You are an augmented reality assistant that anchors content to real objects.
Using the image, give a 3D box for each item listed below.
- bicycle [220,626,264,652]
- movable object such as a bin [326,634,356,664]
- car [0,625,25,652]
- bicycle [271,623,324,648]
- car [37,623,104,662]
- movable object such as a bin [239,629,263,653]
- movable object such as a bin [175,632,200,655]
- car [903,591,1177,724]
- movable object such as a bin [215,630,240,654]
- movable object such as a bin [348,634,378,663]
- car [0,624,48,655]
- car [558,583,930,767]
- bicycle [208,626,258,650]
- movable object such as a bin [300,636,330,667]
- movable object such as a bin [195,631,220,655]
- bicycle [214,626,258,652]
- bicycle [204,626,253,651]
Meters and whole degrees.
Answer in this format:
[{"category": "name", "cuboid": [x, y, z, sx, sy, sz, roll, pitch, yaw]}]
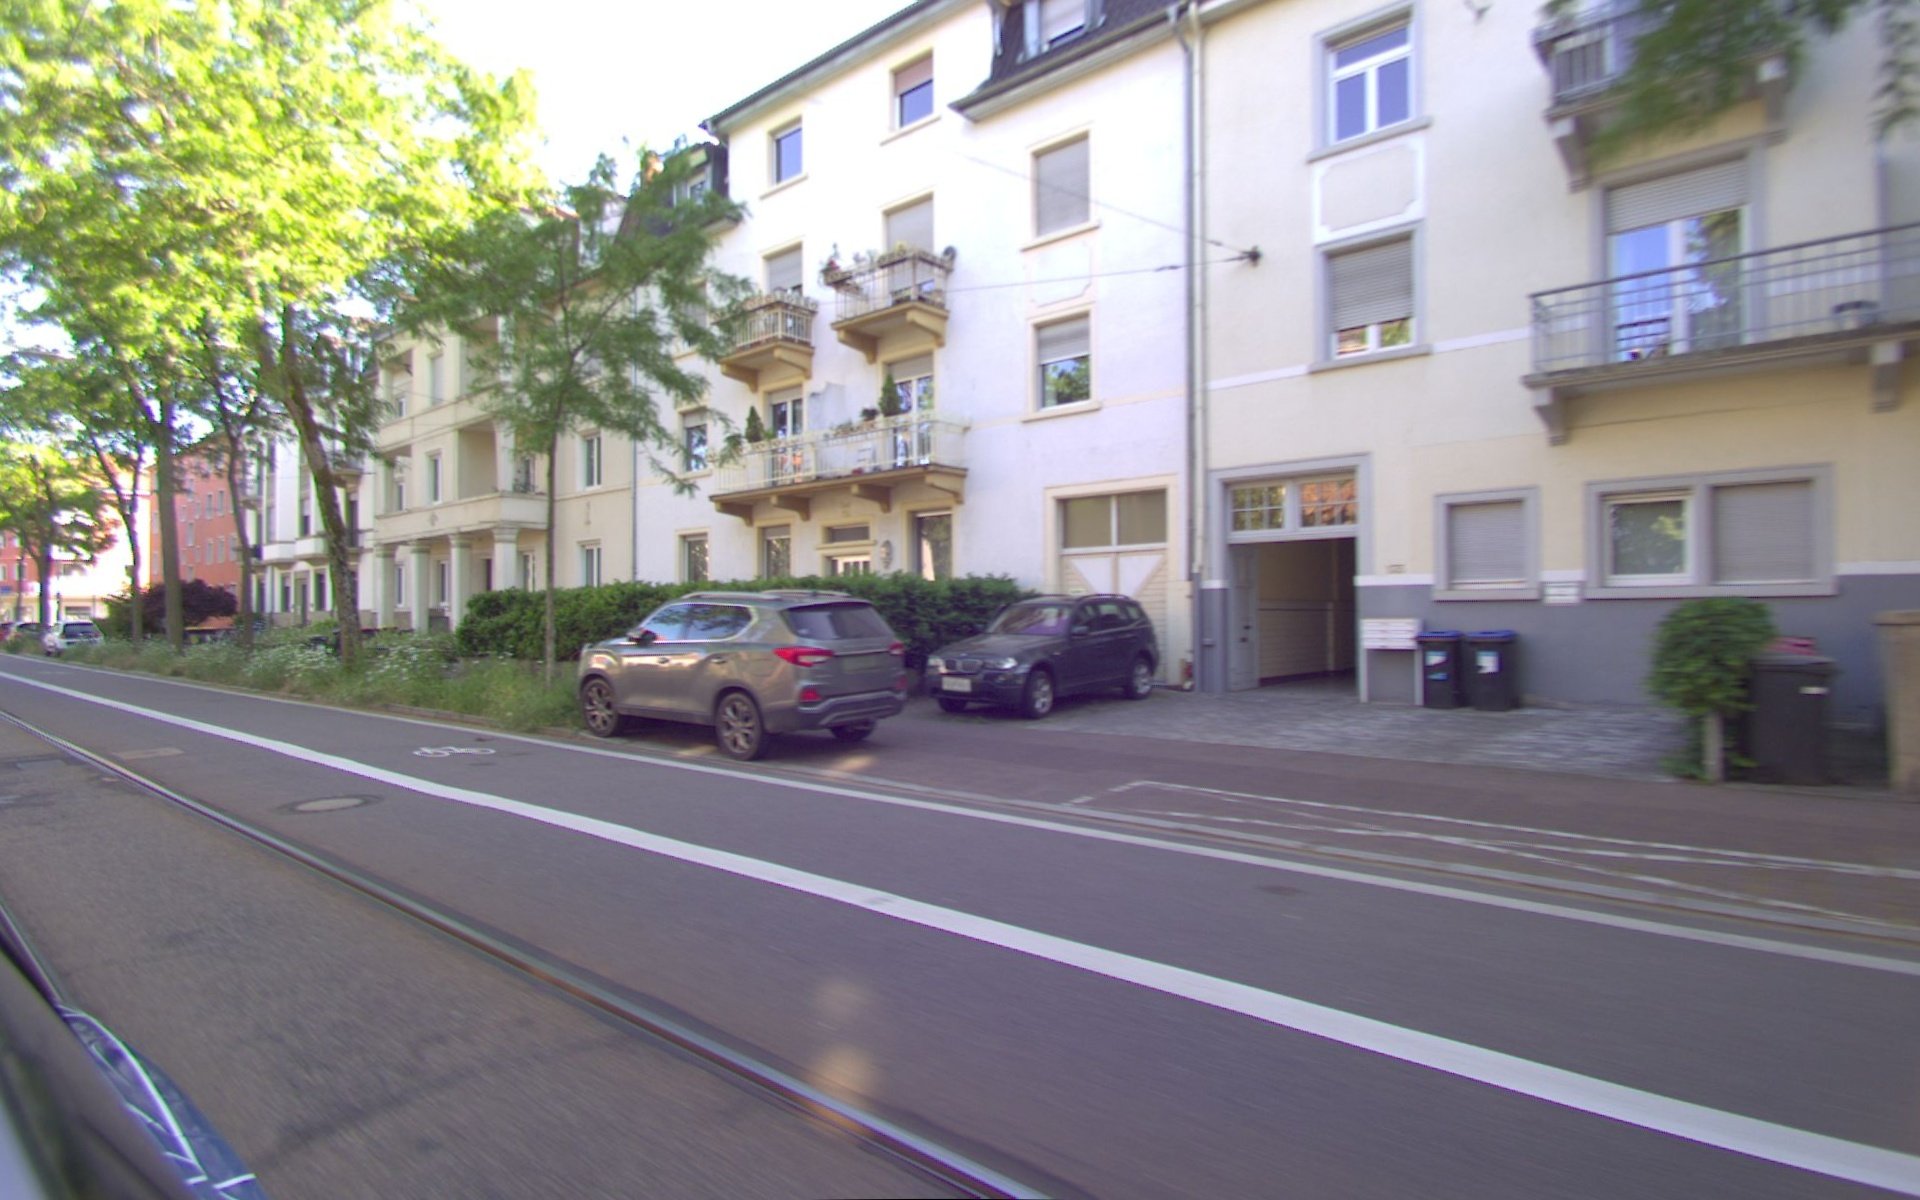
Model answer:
[{"category": "bicycle", "cuboid": [-29.024, 1.562, 40.940, 0.550, 1.004, 1.863, 0, -1, -3]}, {"category": "movable object such as a bin", "cuboid": [-20.087, 1.575, 32.838, 0.739, 0.928, 0.621, -1, 0, 41]}, {"category": "car", "cuboid": [-54.705, 2.171, 57.627, 4.091, 1.465, 1.558, -1, 0, 38]}, {"category": "bicycle", "cuboid": [-28.732, 1.523, 43.907, 1.833, 1.004, 0.559, -2, -1, -8]}, {"category": "car", "cuboid": [-38.761, 1.823, 44.077, 3.686, 1.546, 1.609, -1, 0, 39]}, {"category": "movable object such as a bin", "cuboid": [-33.304, 1.926, 47.516, 0.895, 1.122, 0.730, -1, -2, 41]}, {"category": "movable object such as a bin", "cuboid": [-34.863, 1.953, 45.670, 0.895, 1.049, 0.730, -1, -2, 41]}, {"category": "car", "cuboid": [1.345, 0.749, 15.405, 1.952, 1.673, 4.255, -1, 0, 42]}, {"category": "movable object such as a bin", "cuboid": [-33.882, 1.949, 46.810, 0.895, 1.093, 0.730, -1, -2, 41]}, {"category": "movable object such as a bin", "cuboid": [-19.651, 1.589, 33.304, 0.739, 0.928, 0.621, -1, 0, 41]}, {"category": "car", "cuboid": [-47.958, 2.005, 51.738, 3.666, 1.465, 1.538, -1, 0, 41]}, {"category": "car", "cuboid": [-2.772, 0.779, 12.307, 4.766, 1.836, 1.852, -1, 0, 39]}, {"category": "bicycle", "cuboid": [-31.232, 1.619, 43.515, 0.552, 1.004, 1.855, -1, -1, 12]}, {"category": "movable object such as a bin", "cuboid": [-20.683, 1.641, 32.440, 0.739, 0.928, 0.621, -1, 0, 41]}, {"category": "movable object such as a bin", "cuboid": [-34.370, 1.947, 46.232, 0.895, 1.062, 0.730, -1, -2, 41]}, {"category": "bicycle", "cuboid": [-29.823, 1.603, 41.709, 0.550, 1.004, 1.863, 0, -1, -3]}, {"category": "bicycle", "cuboid": [-30.693, 1.604, 42.510, 0.551, 1.004, 1.858, -1, -1, 7]}]
